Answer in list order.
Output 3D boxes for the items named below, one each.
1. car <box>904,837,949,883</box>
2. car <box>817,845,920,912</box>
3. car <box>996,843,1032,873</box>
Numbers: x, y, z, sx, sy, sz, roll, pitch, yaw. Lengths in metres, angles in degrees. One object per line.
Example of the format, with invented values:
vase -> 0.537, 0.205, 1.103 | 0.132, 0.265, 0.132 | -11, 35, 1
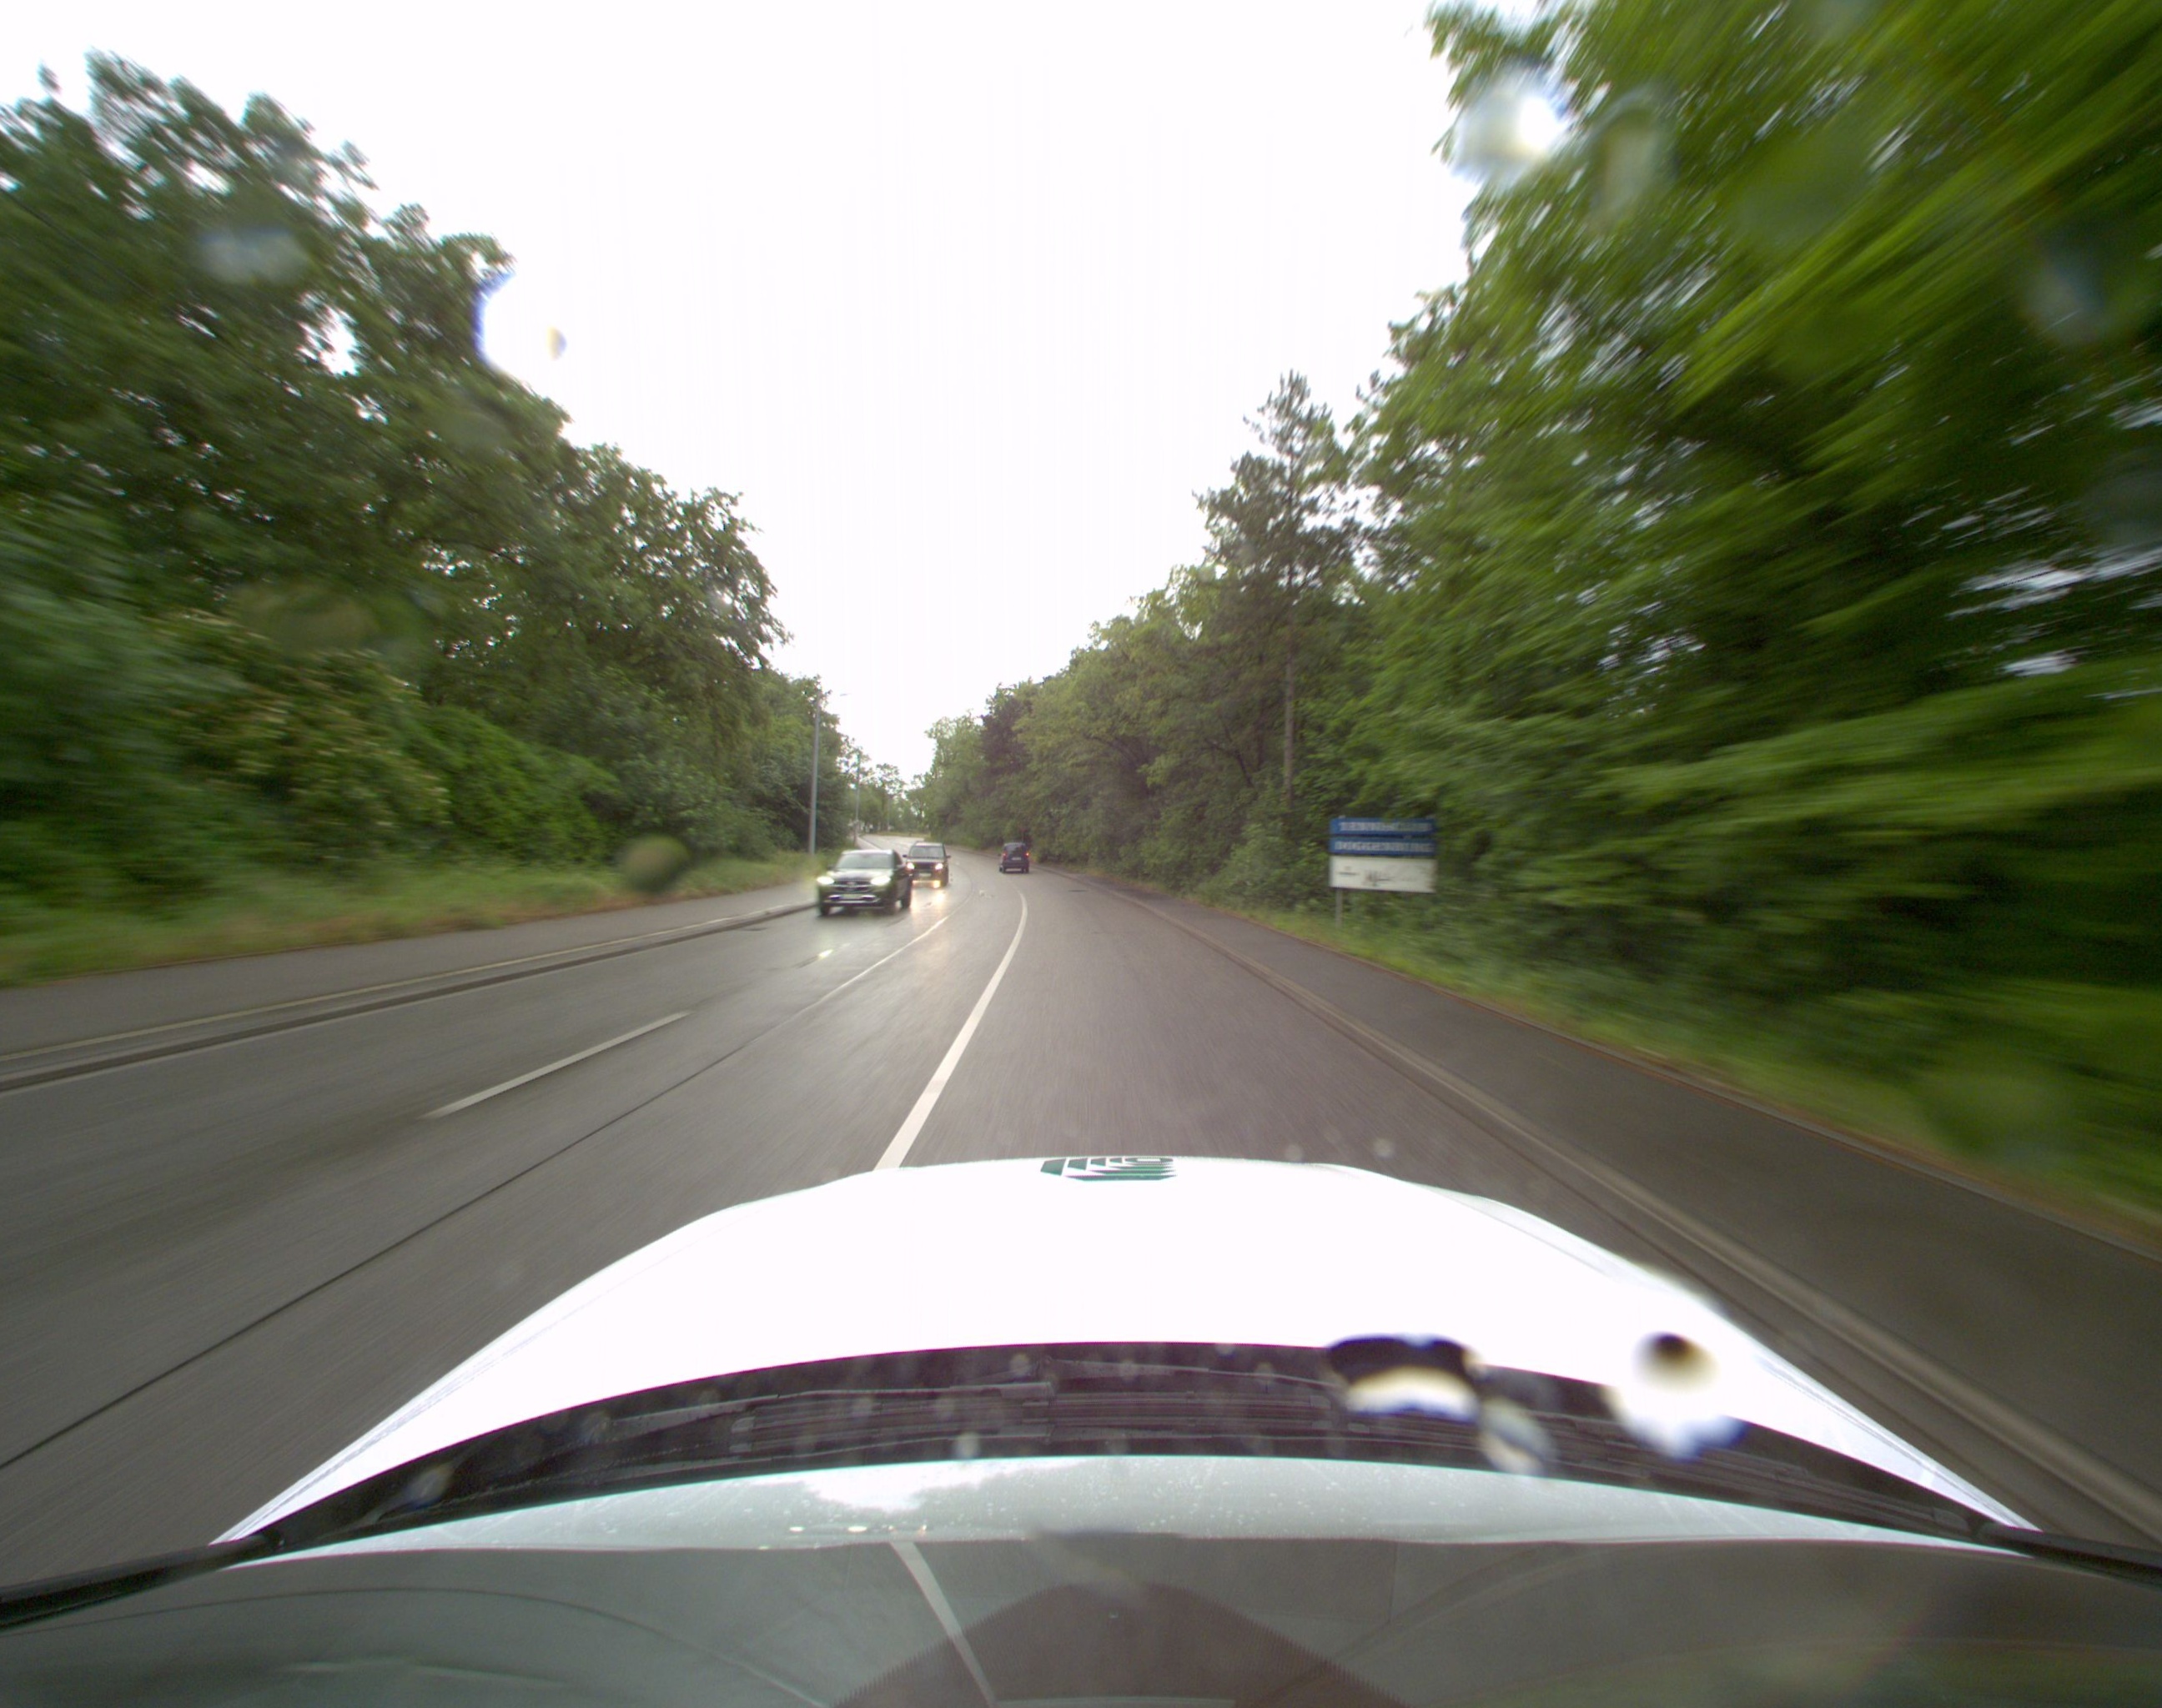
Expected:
car -> -7.226, 0.219, 37.806 | 1.829, 1.842, 4.692 | -3, 3, -12
car -> -5.558, 0.588, 21.868 | 1.805, 1.595, 4.512 | 1, 0, -3
car -> -4.270, 0.214, 51.142 | 1.828, 1.794, 3.985 | -1, 0, -11
